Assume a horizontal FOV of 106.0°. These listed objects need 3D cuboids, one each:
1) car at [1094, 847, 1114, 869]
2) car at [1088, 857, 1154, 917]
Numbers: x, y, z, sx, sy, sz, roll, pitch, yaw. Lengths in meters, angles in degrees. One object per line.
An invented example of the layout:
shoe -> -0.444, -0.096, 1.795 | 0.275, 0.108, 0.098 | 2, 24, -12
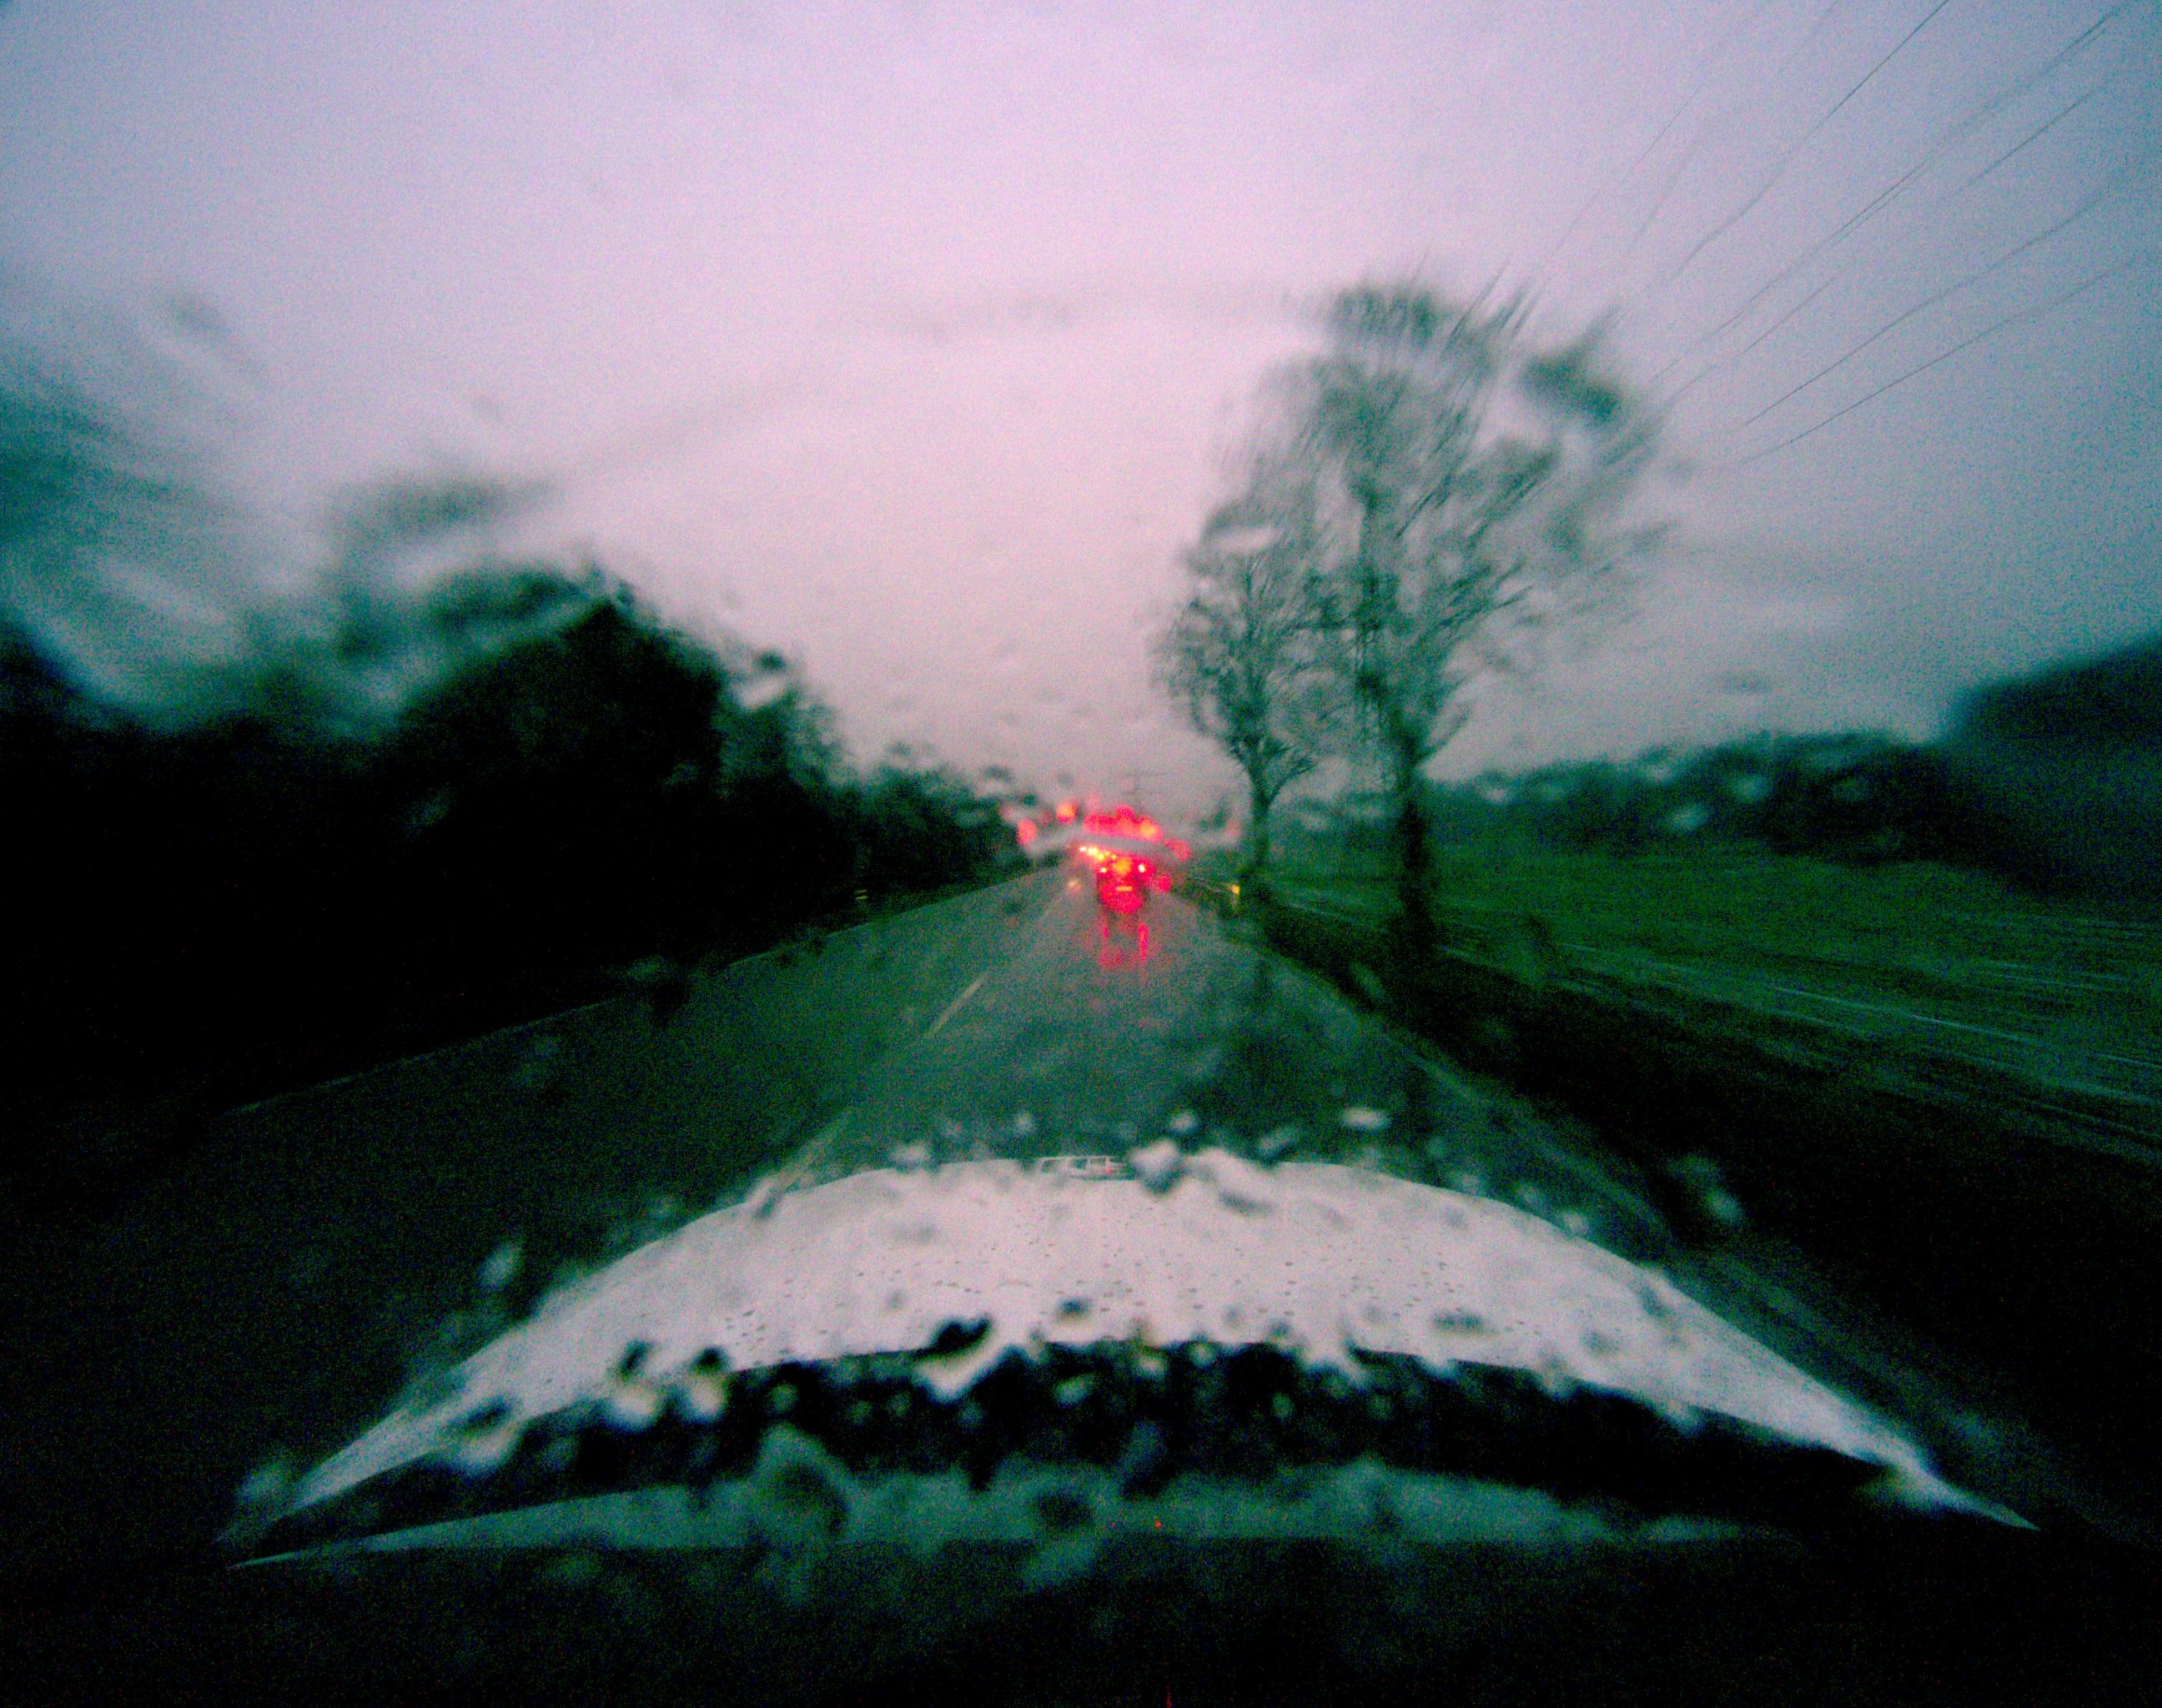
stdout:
car -> 2.316, 0.351, 81.552 | 1.986, 2.013, 4.003 | 0, 2, 2
car -> 1.283, 1.014, 27.003 | 1.986, 1.752, 4.001 | -1, 0, 1
